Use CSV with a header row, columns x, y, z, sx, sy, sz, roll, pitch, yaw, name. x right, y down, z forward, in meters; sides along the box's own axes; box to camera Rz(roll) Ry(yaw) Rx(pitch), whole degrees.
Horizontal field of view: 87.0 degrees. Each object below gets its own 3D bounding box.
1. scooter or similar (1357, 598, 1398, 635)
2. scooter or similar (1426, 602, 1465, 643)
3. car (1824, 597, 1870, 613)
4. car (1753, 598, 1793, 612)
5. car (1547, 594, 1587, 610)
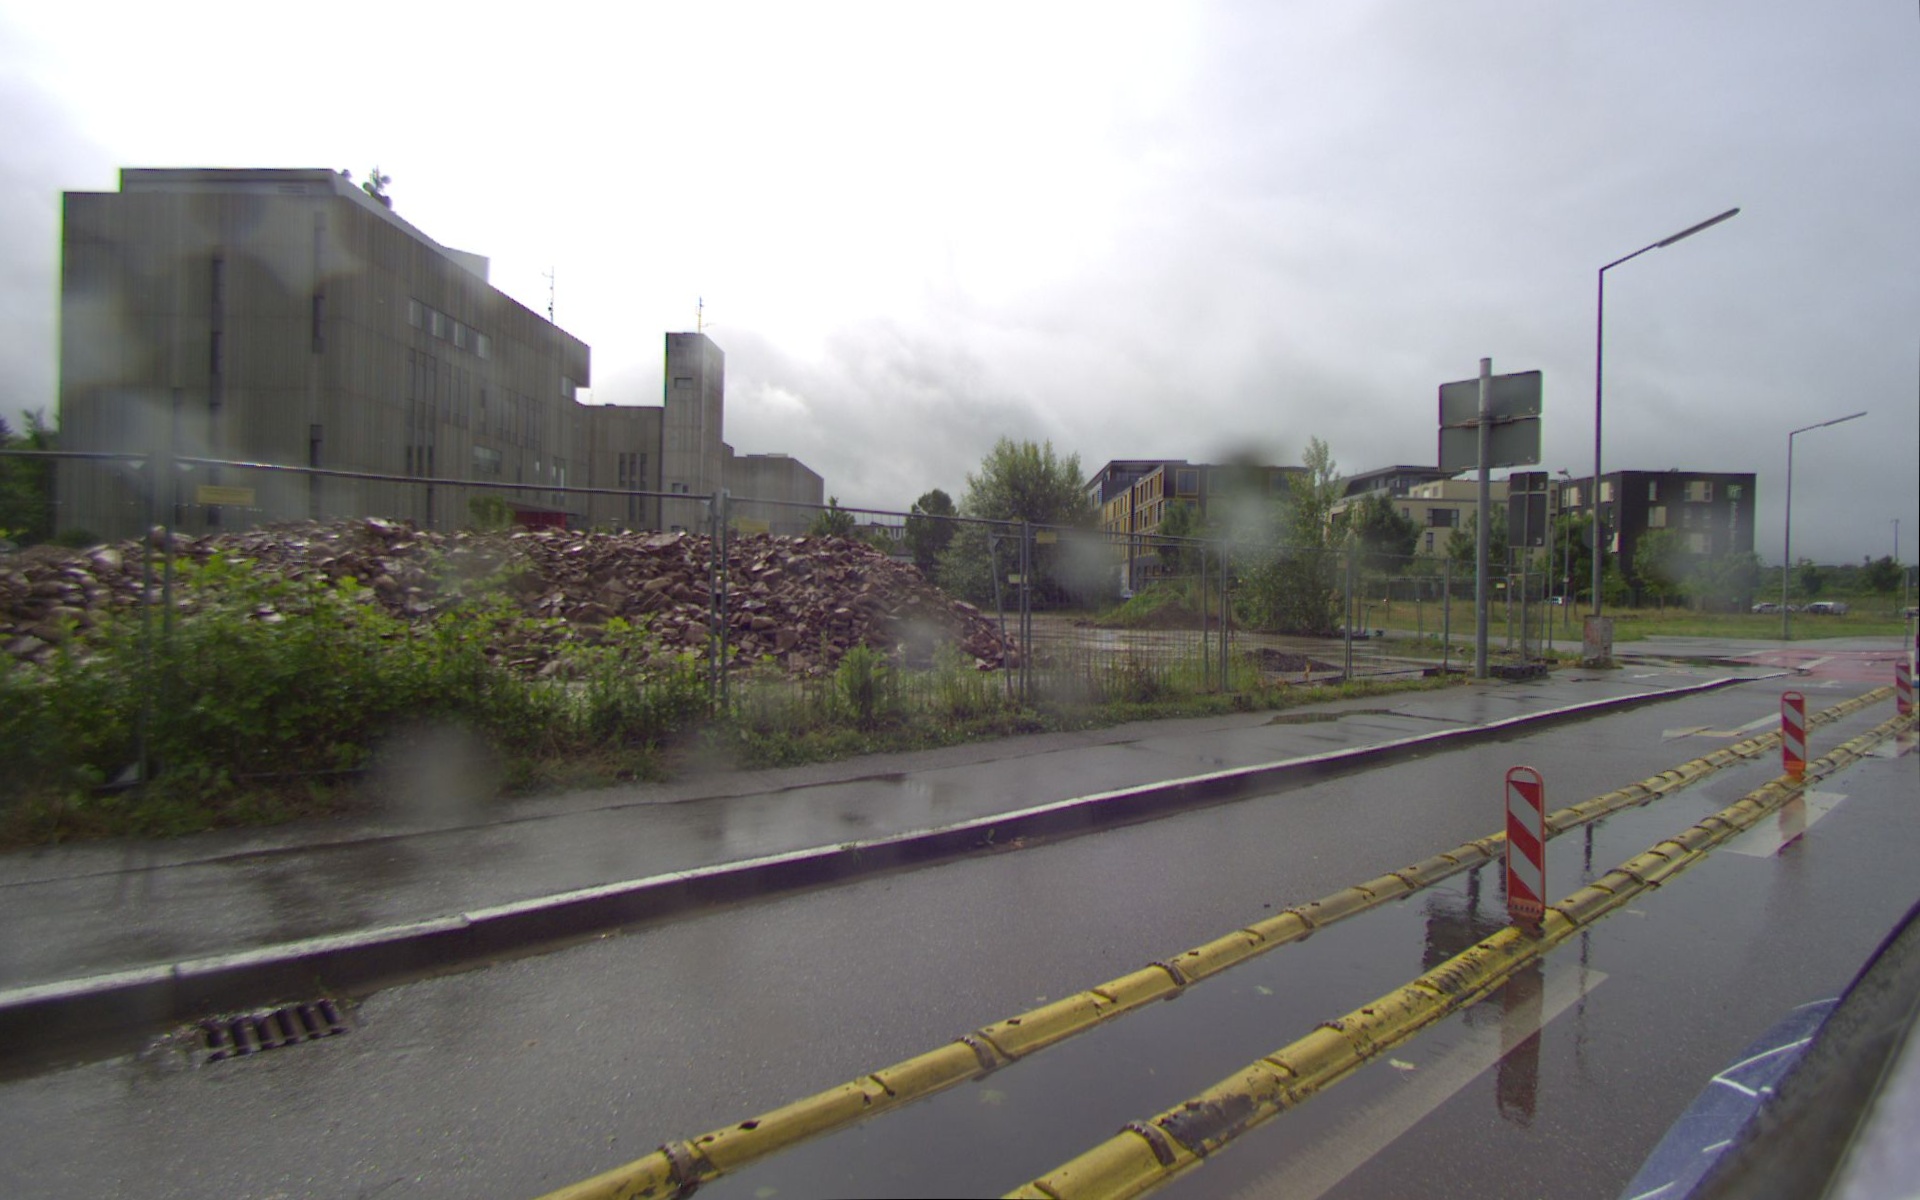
x,y,z,sx,sy,sz,roll,pitch,yaw,name
13.863,0.547,33.622,0.731,1.164,1.197,1,1,-8,scooter or similar
14.833,0.676,30.923,0.473,1.164,1.197,1,1,-8,scooter or similar
112.576,0.616,128.456,3.930,2.039,1.997,1,0,5,car
102.039,0.605,127.069,3.590,1.631,1.596,1,0,9,car
63.585,0.205,106.012,3.591,1.603,1.652,1,0,-18,car
